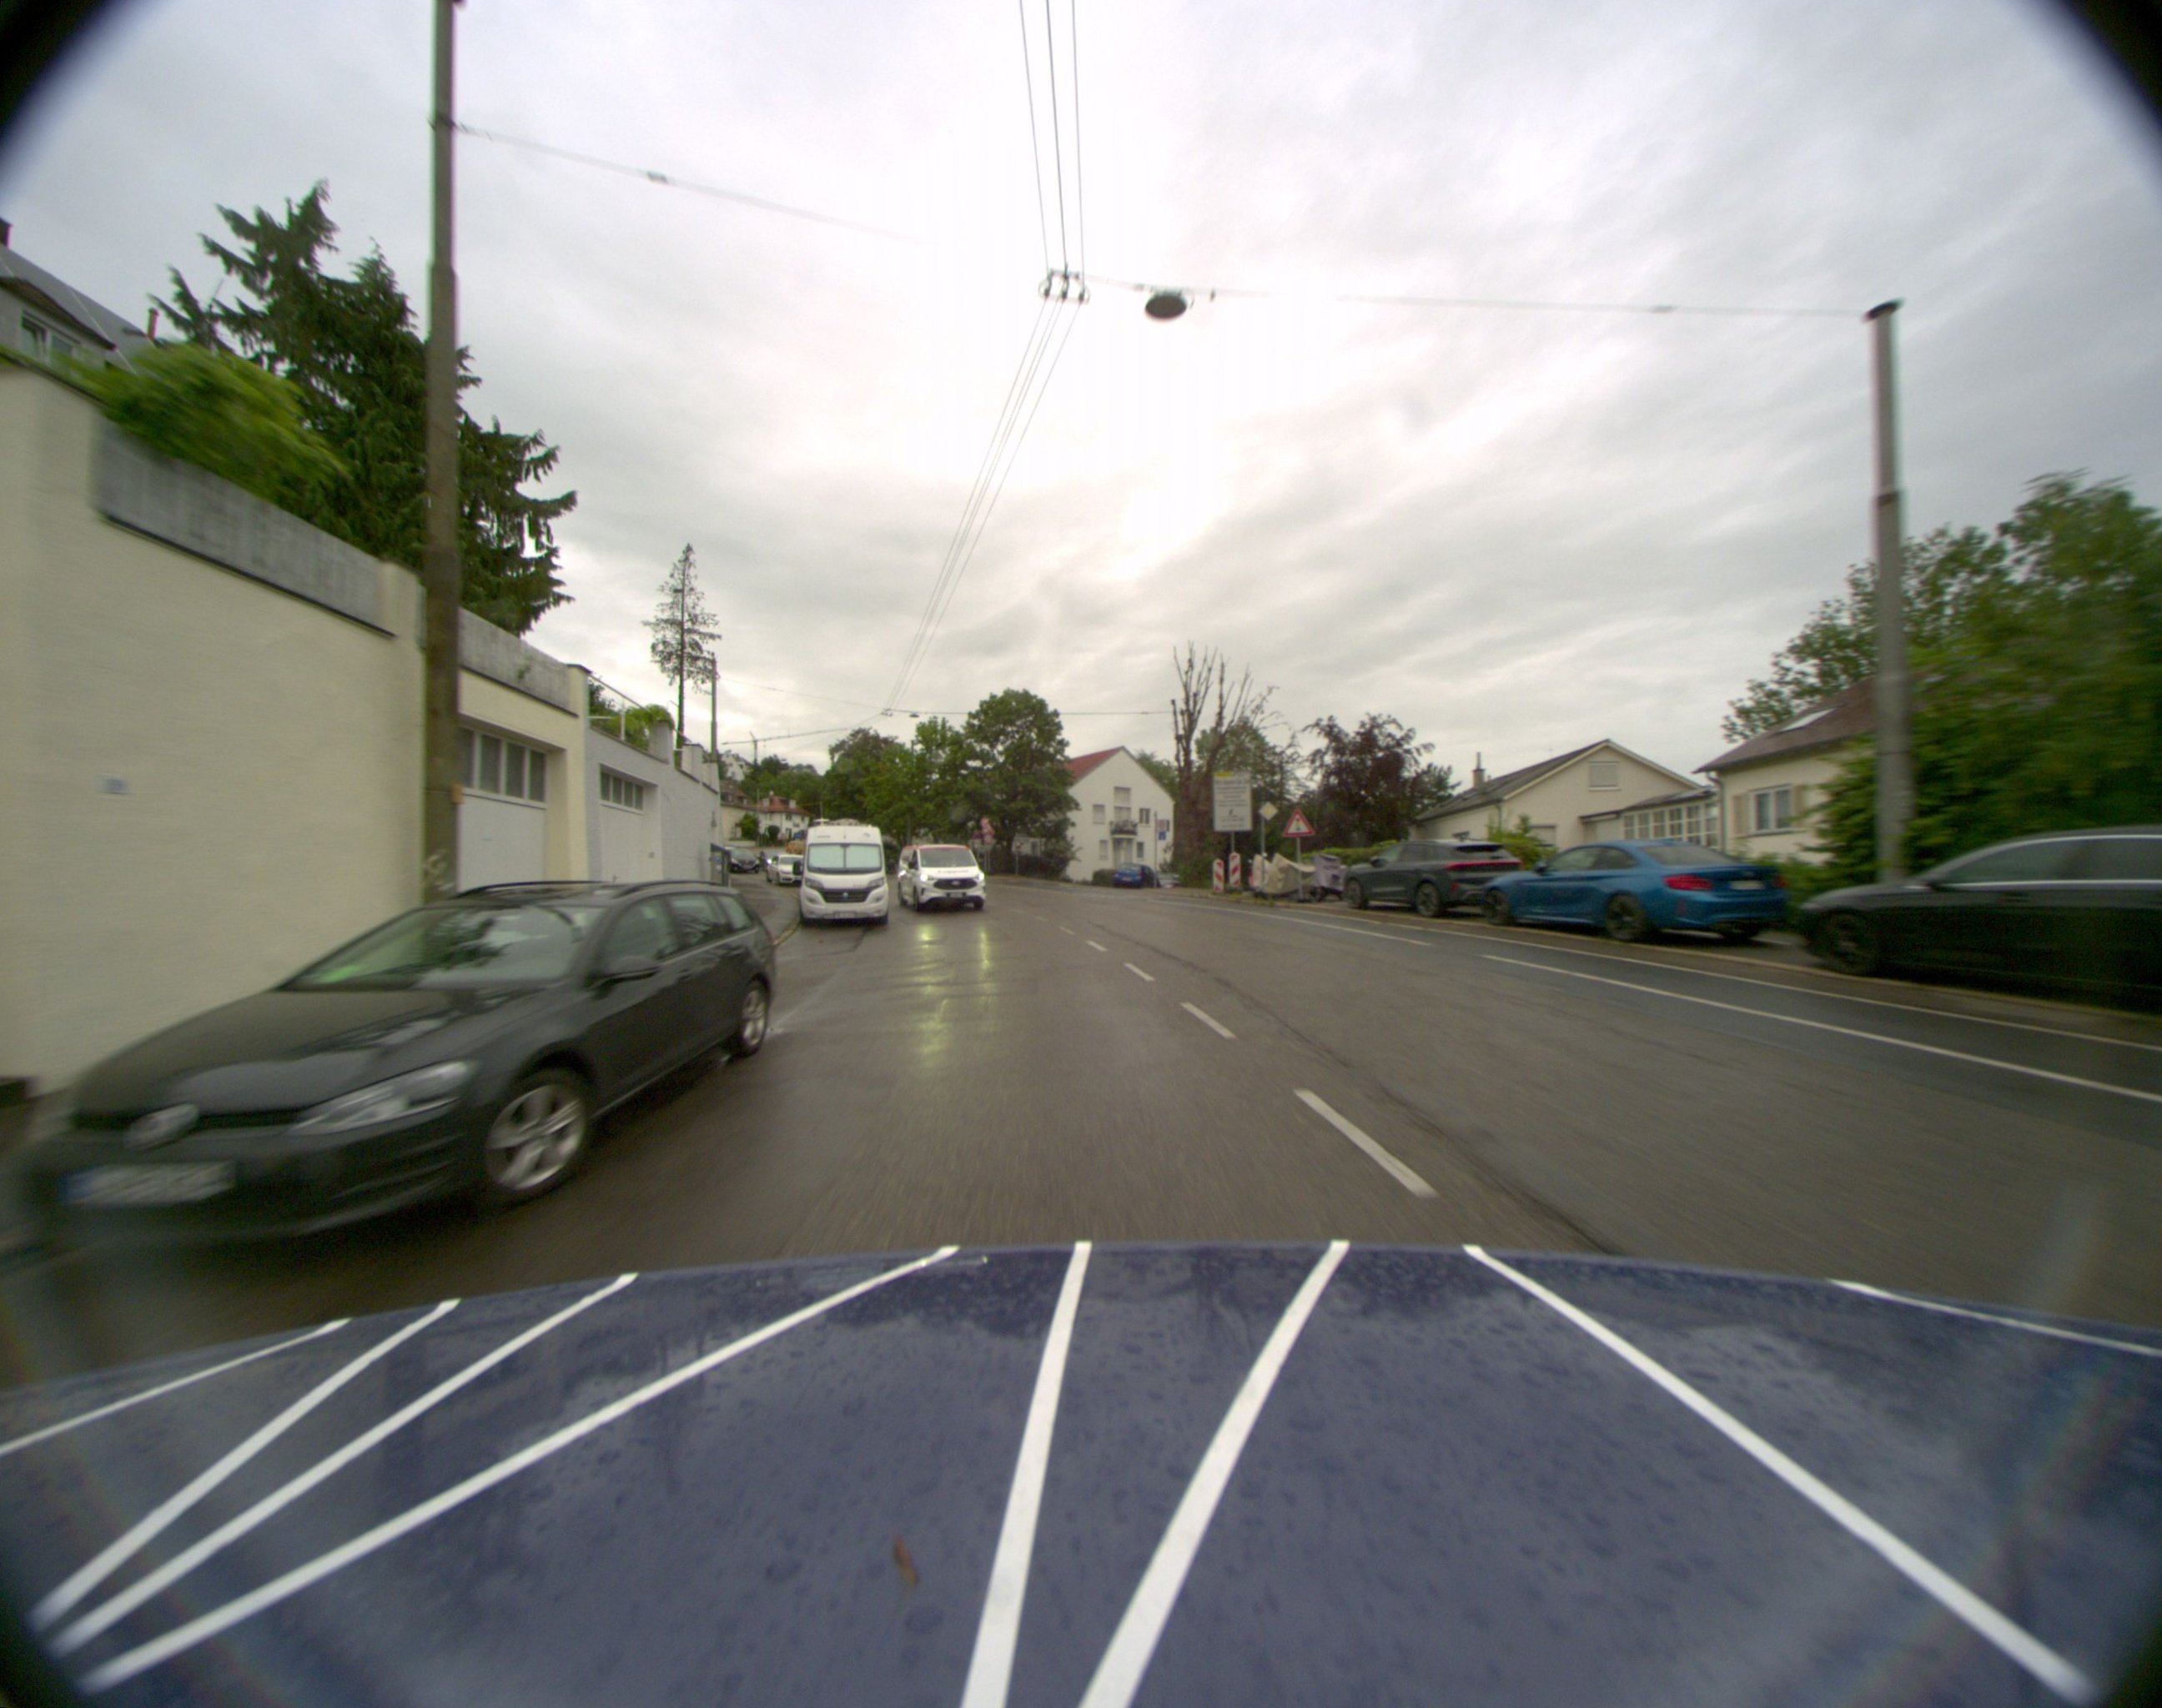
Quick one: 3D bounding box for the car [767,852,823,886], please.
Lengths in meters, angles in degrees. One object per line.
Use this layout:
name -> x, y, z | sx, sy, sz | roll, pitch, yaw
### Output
car -> -13.429, 0.670, 35.572 | 1.714, 1.406, 4.030 | 2, 1, -31

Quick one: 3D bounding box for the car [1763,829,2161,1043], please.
car -> 8.397, 0.544, 6.171 | 1.812, 1.468, 4.523 | -2, 0, 3

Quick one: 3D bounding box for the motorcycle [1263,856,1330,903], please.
motorcycle -> 6.282, 0.742, 22.185 | 1.804, 1.296, 0.614 | -2, 0, 16

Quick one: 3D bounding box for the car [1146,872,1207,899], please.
car -> 5.871, 1.893, 46.278 | 1.836, 1.485, 4.091 | 3, 1, 37

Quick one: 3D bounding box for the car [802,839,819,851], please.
car -> -38.304, -1.290, 107.669 | 1.726, 1.599, 4.456 | 1, 1, -14

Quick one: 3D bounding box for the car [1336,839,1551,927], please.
car -> 7.572, 0.557, 16.437 | 1.928, 1.568, 4.383 | -2, 0, -11

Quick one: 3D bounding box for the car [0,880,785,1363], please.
car -> -3.448, 1.006, 4.742 | 1.683, 1.475, 4.200 | -1, 1, -3

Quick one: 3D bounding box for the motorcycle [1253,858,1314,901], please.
motorcycle -> 6.300, 0.789, 23.651 | 1.808, 1.272, 0.510 | -1, 0, -13

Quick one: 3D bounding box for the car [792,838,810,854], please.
car -> -35.588, -1.026, 96.628 | 1.810, 1.917, 4.569 | 3, 1, -16

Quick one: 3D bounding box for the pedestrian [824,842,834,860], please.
pedestrian -> -26.305, -0.339, 79.358 | 0.711, 1.806, 1.144 | 0, 1, -35

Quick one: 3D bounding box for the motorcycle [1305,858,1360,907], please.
motorcycle -> 6.948, 0.763, 20.920 | 1.910, 1.264, 0.574 | -2, 0, -44

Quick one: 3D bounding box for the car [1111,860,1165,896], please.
car -> 3.145, 1.252, 40.876 | 1.837, 1.657, 3.947 | 3, 2, 20

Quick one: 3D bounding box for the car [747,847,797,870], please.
car -> -21.154, 0.271, 51.897 | 1.994, 1.428, 4.502 | 1, 1, -37

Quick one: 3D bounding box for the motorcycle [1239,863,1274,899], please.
motorcycle -> 5.828, 0.876, 25.280 | 0.511, 1.133, 1.921 | 2, -1, -6

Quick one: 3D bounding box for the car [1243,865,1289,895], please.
car -> 8.844, 1.212, 36.538 | 1.553, 1.319, 3.564 | 2, 0, 5

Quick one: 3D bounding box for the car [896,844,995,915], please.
car -> -4.299, 0.708, 23.503 | 2.045, 1.928, 4.506 | -2, 1, -23

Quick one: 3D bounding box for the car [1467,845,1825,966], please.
car -> 8.025, 0.642, 11.461 | 1.704, 1.396, 4.470 | -2, 0, -6

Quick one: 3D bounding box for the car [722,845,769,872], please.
car -> -20.840, 0.265, 47.158 | 1.723, 1.504, 3.988 | 2, 1, -38

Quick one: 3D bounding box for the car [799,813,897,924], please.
car -> -6.193, 0.311, 20.228 | 2.107, 2.528, 5.610 | 1, 1, -17
